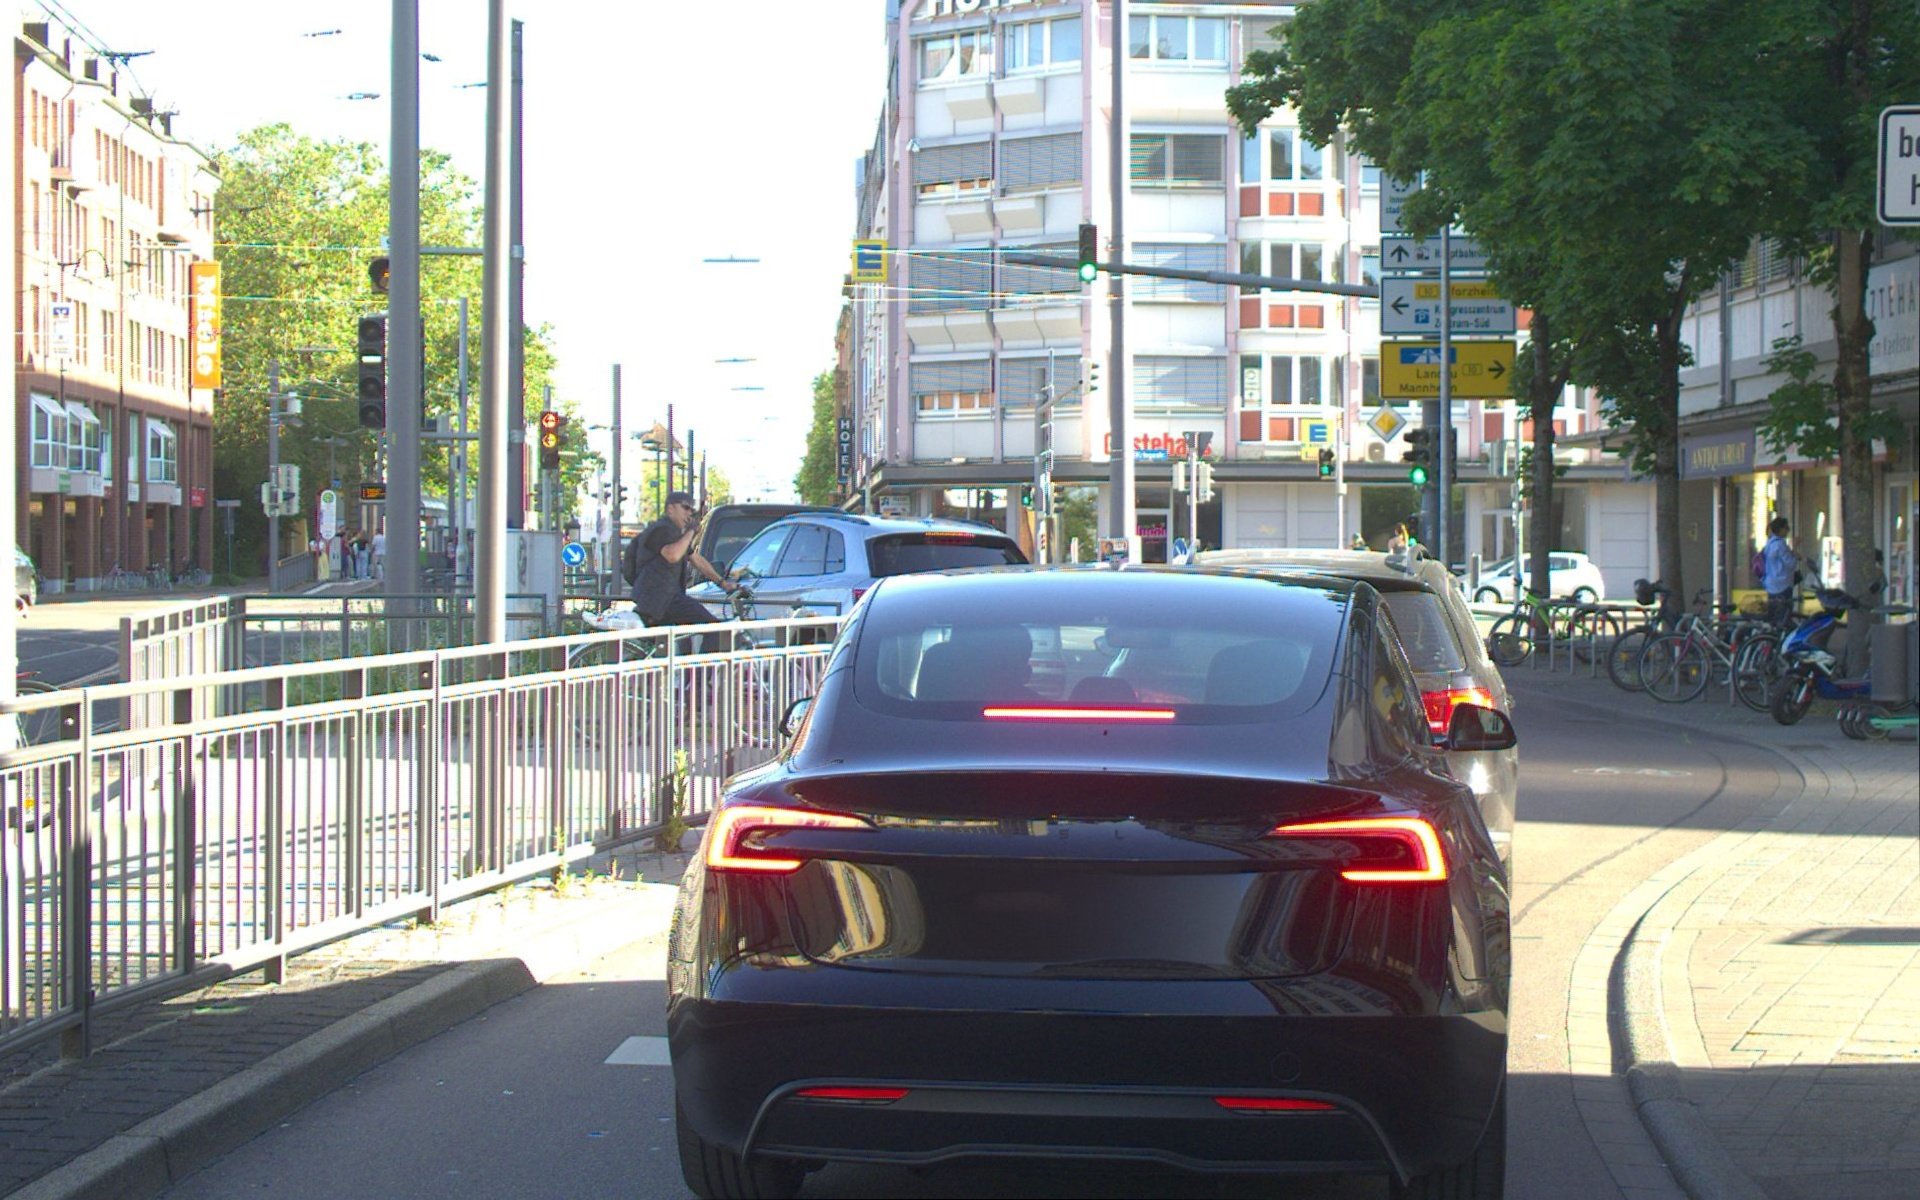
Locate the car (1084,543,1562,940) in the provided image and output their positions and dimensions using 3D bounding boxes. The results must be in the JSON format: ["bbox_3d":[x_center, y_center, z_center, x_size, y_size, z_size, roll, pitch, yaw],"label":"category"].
[{"bbox_3d":[1.524,0.489,15.160,1.765,1.439,4.528,1,1,4],"label":"car"}]

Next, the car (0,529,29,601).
[{"bbox_3d":[-21.853,-0.781,75.586,1.685,1.555,4.123,1,1,-1],"label":"car"}]

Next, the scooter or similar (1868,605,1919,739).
[{"bbox_3d":[7.611,0.561,26.905,0.964,1.039,0.160,0,1,3],"label":"scooter or similar"}]

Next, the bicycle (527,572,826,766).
[{"bbox_3d":[-1.824,0.433,22.247,1.820,1.207,0.642,0,1,-31],"label":"bicycle"}]

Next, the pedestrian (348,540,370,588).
[{"bbox_3d":[-19.108,-1.147,109.263,0.583,1.525,0.638,1,0,-18],"label":"pedestrian"}]

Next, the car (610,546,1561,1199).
[{"bbox_3d":[0.374,0.625,8.502,1.791,1.446,3.939,1,2,4],"label":"car"}]

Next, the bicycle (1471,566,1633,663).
[{"bbox_3d":[7.300,0.179,42.420,1.890,1.152,0.480,-1,0,0],"label":"bicycle"}]

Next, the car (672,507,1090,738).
[{"bbox_3d":[-0.671,0.139,26.216,1.839,1.629,3.486,1,1,-27],"label":"car"}]

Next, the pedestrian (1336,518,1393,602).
[{"bbox_3d":[7.675,-0.761,65.304,0.779,1.571,0.868,1,2,-15],"label":"pedestrian"}]

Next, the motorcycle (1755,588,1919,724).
[{"bbox_3d":[7.722,0.471,29.233,1.787,1.126,0.504,1,0,-3],"label":"motorcycle"}]

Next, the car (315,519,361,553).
[{"bbox_3d":[-28.027,-2.861,154.929,1.817,1.449,3.978,-1,1,-7],"label":"car"}]

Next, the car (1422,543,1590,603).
[{"bbox_3d":[13.705,-0.673,86.413,3.840,1.427,1.804,0,-1,-5],"label":"car"}]

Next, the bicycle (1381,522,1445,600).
[{"bbox_3d":[8.595,-0.746,65.277,0.582,1.458,1.686,0,1,-16],"label":"bicycle"}]

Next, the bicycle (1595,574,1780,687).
[{"bbox_3d":[7.480,0.311,35.373,1.809,1.147,0.435,0,0,-4],"label":"bicycle"}]

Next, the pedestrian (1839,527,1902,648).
[{"bbox_3d":[10.861,-0.152,41.025,0.645,1.417,0.621,1,0,10],"label":"pedestrian"}]

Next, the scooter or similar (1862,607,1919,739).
[{"bbox_3d":[7.617,0.572,27.104,0.956,1.035,0.160,0,1,3],"label":"scooter or similar"}]

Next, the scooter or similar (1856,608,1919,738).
[{"bbox_3d":[7.622,0.579,27.304,0.964,1.023,0.160,0,1,3],"label":"scooter or similar"}]

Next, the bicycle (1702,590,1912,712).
[{"bbox_3d":[7.709,0.457,31.287,1.849,1.052,0.399,-1,1,-11],"label":"bicycle"}]

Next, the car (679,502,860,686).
[{"bbox_3d":[-1.773,-0.072,32.321,1.572,1.612,3.784,1,1,-3],"label":"car"}]

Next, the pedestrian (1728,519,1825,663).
[{"bbox_3d":[9.853,-0.116,41.485,0.845,1.715,0.878,1,1,37],"label":"pedestrian"}]

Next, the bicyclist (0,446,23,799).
[{"bbox_3d":[-4.794,0.100,15.877,0.682,1.625,0.577,1,0,33],"label":"bicyclist"}]

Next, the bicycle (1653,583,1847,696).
[{"bbox_3d":[7.651,0.377,33.338,1.767,1.053,0.458,1,0,5],"label":"bicycle"}]

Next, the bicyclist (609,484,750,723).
[{"bbox_3d":[-1.818,0.021,22.245,0.681,1.518,0.635,1,0,-31],"label":"bicyclist"}]

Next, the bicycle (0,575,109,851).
[{"bbox_3d":[-4.799,0.484,15.873,1.823,1.207,0.581,1,1,33],"label":"bicycle"}]
